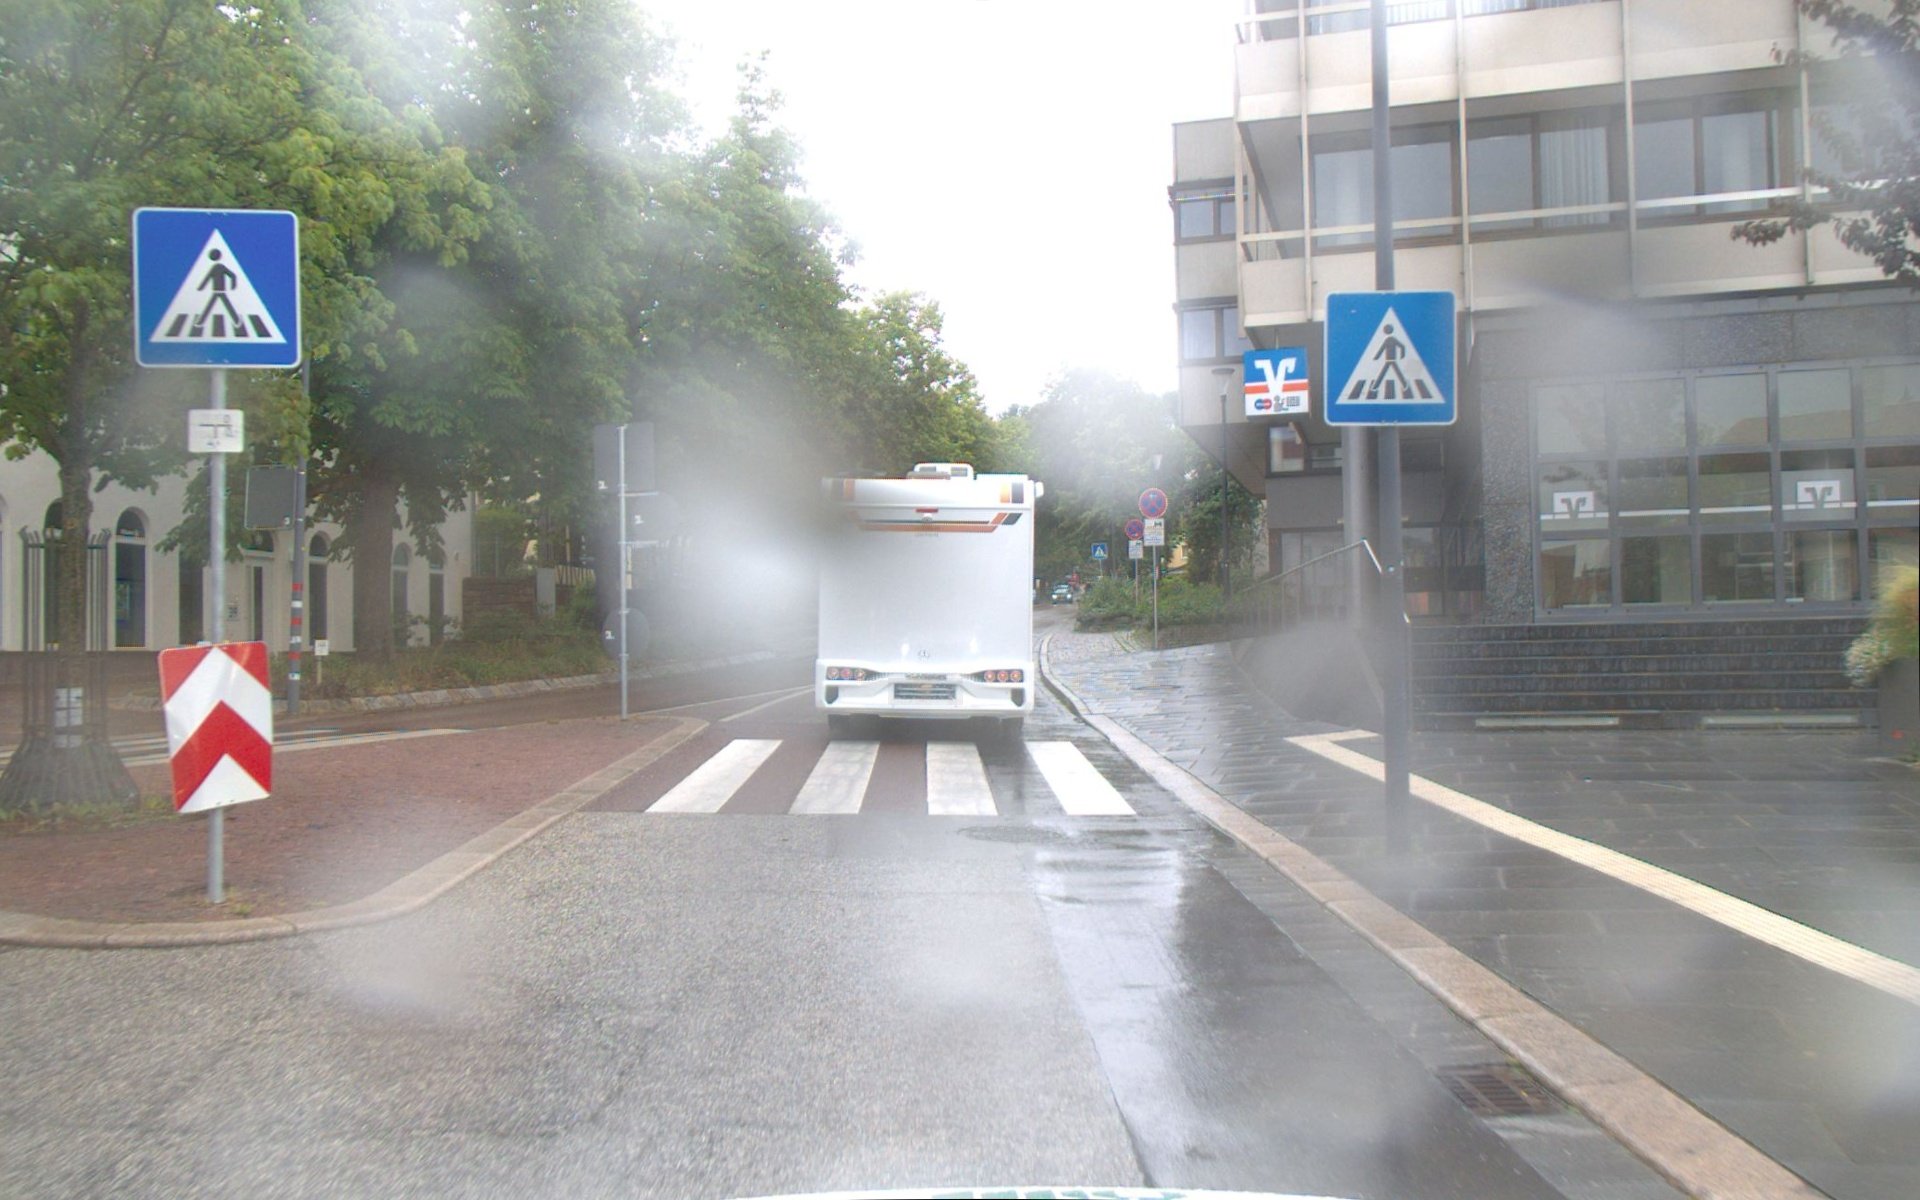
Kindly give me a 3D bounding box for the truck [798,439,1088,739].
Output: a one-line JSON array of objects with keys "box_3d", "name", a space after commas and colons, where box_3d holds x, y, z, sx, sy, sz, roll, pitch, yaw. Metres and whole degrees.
[{"box_3d": [-0.194, -0.053, 19.338, 2.749, 2.846, 6.105, -2, -1, -1], "name": "truck"}]
